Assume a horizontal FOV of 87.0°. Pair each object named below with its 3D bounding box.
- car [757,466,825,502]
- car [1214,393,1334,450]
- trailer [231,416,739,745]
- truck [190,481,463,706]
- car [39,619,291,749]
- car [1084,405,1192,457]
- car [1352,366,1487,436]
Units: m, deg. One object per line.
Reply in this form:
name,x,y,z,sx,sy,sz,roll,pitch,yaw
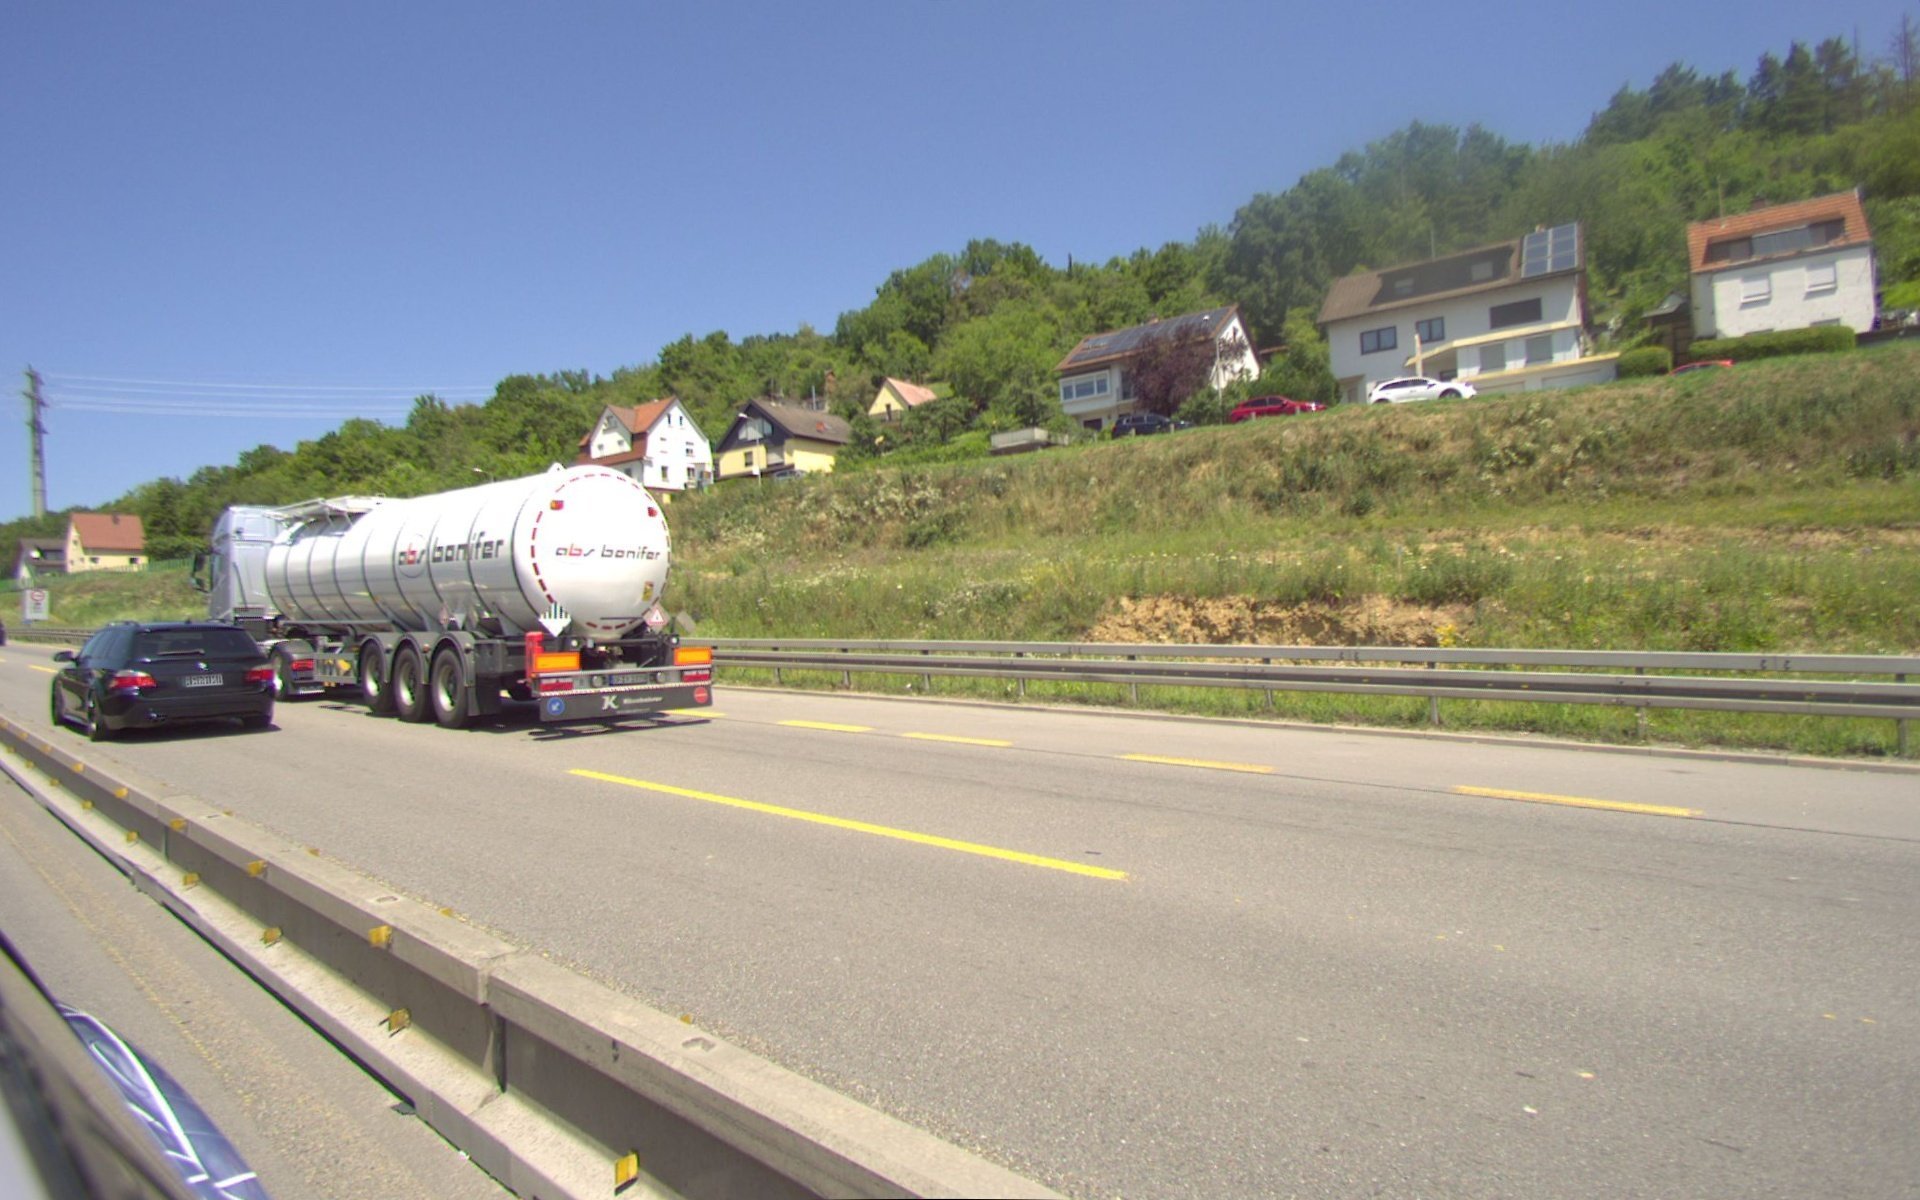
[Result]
car,-10.678,-7.300,63.989,3.990,1.807,1.977,0,0,35
car,14.494,-8.212,46.839,4.795,1.807,2.325,0,0,38
trailer,-8.234,-0.115,16.030,11.787,3.621,2.689,-2,-1,41
truck,-12.485,-0.053,19.724,6.273,3.700,2.750,-2,-1,41
car,-10.772,1.005,13.580,4.677,1.425,1.875,-2,-1,42
car,8.697,-8.211,49.530,4.752,1.807,2.160,0,0,35
car,19.497,-8.369,43.026,4.812,2.056,2.325,0,0,38
